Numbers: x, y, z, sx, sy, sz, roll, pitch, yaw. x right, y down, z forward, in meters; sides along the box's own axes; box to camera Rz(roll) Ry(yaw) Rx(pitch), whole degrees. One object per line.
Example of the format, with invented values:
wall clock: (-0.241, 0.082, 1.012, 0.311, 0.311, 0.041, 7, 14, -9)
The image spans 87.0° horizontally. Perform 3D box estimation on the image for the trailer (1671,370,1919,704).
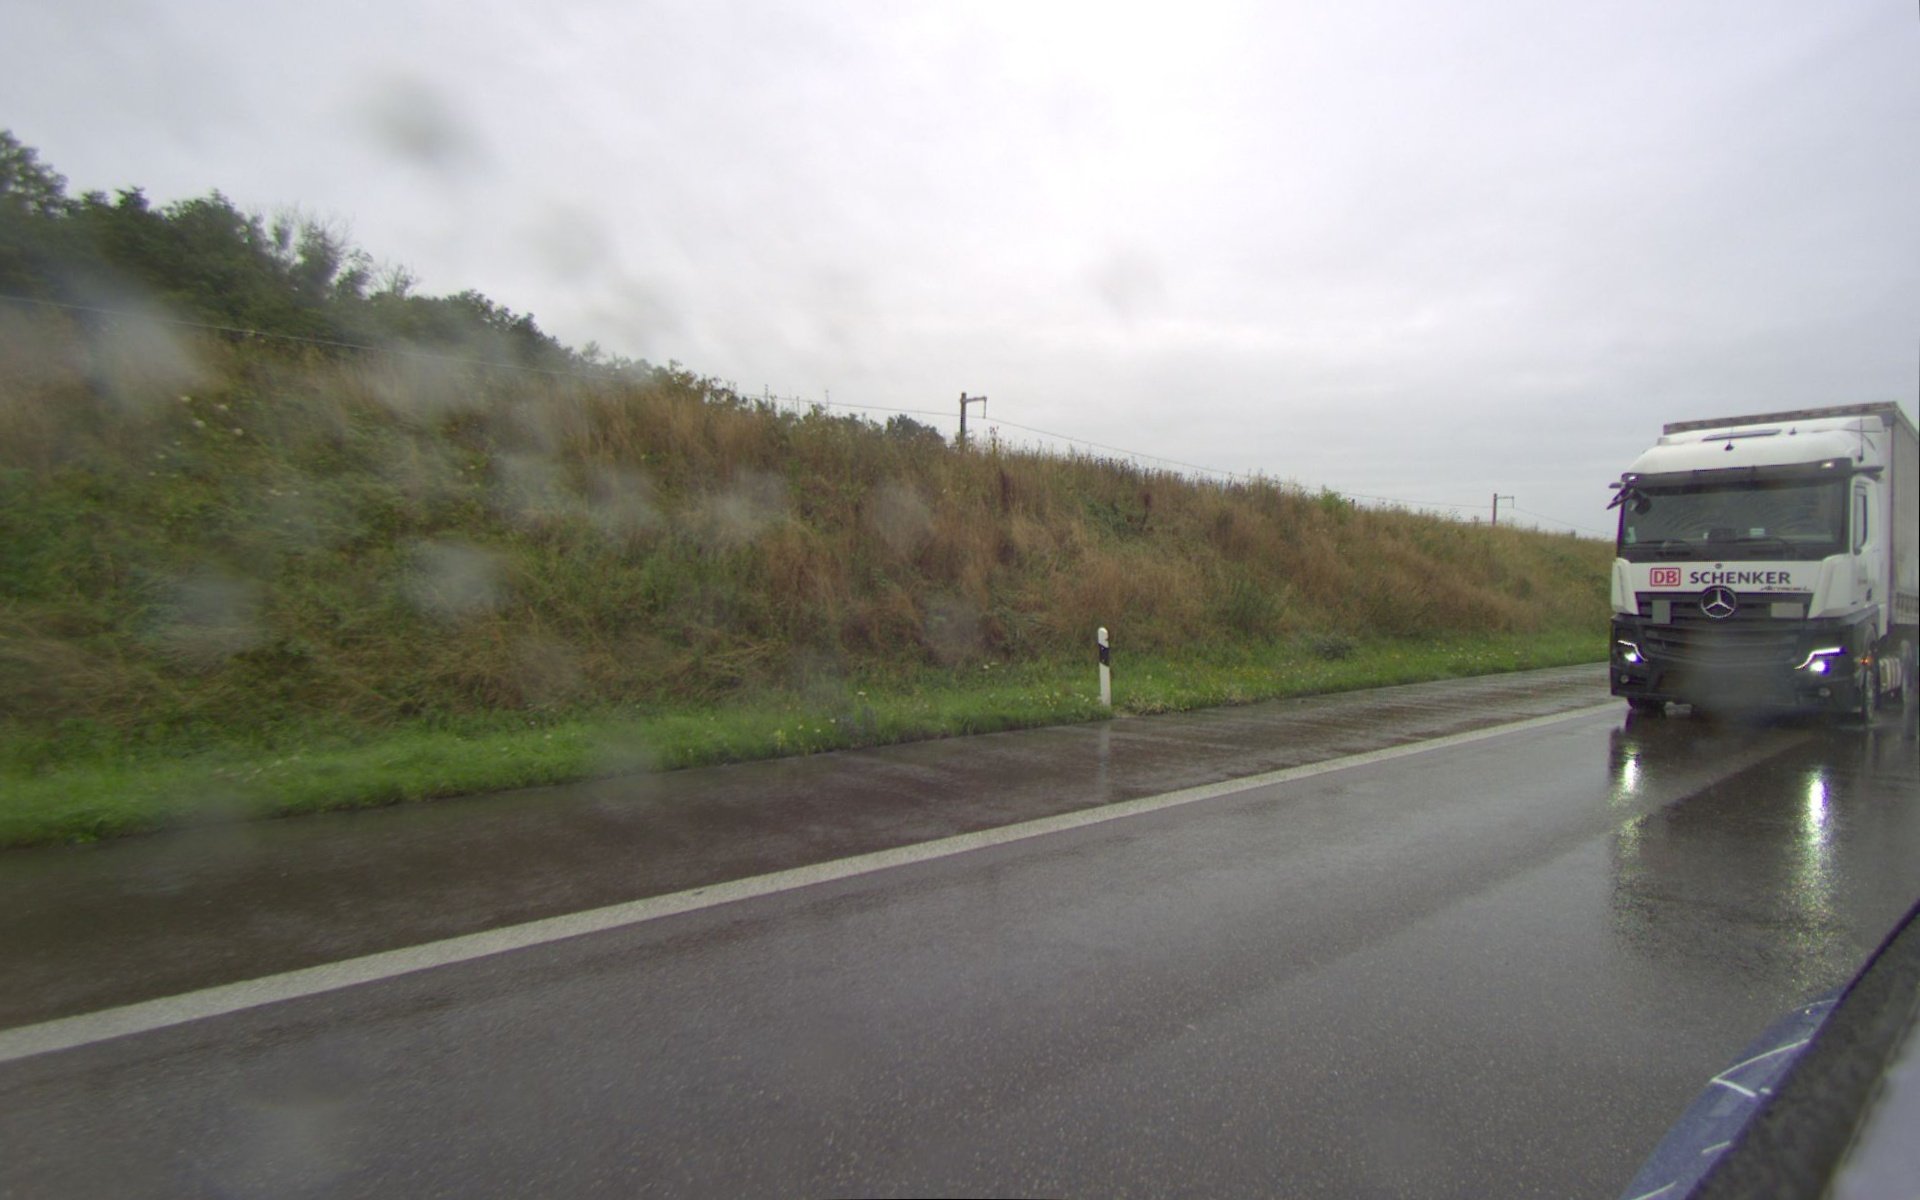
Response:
trailer: (16.645, -0.889, 18.597, 13.930, 4.302, 2.631, -1, 0, -41)

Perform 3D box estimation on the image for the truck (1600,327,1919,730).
truck: (10.824, -0.795, 13.465, 4.956, 4.307, 2.630, -1, 0, -42)
